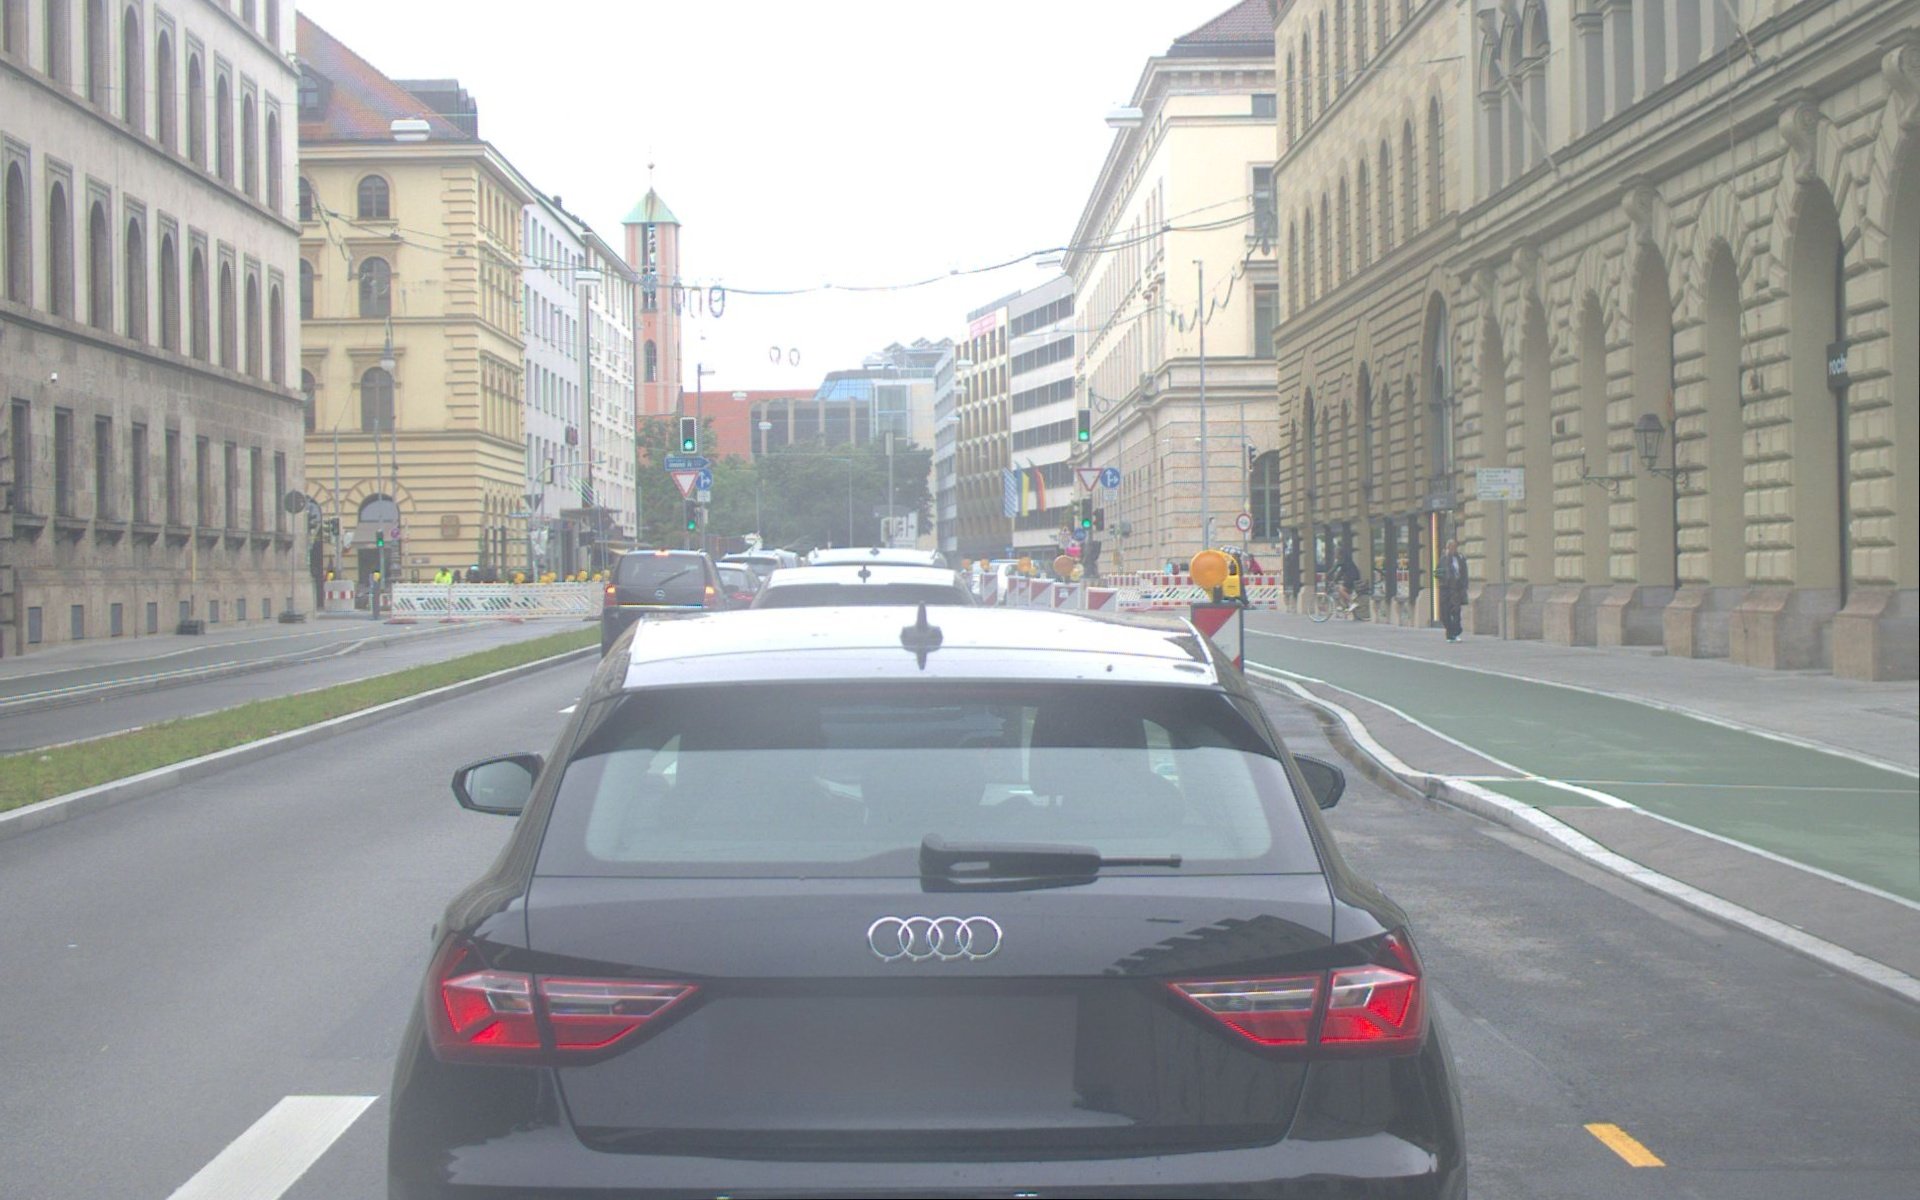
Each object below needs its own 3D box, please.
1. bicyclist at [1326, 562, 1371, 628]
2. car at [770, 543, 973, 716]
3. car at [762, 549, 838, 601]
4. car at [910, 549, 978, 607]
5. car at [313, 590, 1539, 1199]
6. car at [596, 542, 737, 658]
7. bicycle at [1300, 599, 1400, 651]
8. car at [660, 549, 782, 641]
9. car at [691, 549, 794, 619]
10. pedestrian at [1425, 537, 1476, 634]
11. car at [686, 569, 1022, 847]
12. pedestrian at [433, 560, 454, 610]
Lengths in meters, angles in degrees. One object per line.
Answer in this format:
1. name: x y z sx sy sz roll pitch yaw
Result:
1. bicyclist: 8.851 -0.108 78.278 0.753 1.495 0.711 0 1 33
2. car: -0.791 0.222 31.509 1.730 1.456 4.000 1 1 -1
3. car: -4.527 -0.719 97.865 1.993 1.439 4.000 -1 1 0
4. car: -0.489 -0.657 102.021 1.950 1.656 4.000 1 0 0
5. car: -0.083 0.716 6.886 1.730 1.398 4.000 1 1 -1
6. car: -4.216 -0.029 49.875 1.764 1.610 4.030 1 1 -1
7. bicycle: 8.870 0.570 78.272 2.169 1.152 0.729 0 1 34
8. car: -4.365 -0.123 63.314 1.993 1.622 4.000 -1 1 0
9. car: -4.651 -0.363 74.037 1.993 1.439 4.000 -1 1 0
10. pedestrian: 8.237 -0.253 57.736 0.710 1.612 0.754 -1 1 -1
11. car: -0.585 0.544 19.882 1.730 1.398 4.000 1 1 -1
12. pedestrian: -18.608 -0.549 123.802 0.656 1.799 0.727 -1 1 -1
